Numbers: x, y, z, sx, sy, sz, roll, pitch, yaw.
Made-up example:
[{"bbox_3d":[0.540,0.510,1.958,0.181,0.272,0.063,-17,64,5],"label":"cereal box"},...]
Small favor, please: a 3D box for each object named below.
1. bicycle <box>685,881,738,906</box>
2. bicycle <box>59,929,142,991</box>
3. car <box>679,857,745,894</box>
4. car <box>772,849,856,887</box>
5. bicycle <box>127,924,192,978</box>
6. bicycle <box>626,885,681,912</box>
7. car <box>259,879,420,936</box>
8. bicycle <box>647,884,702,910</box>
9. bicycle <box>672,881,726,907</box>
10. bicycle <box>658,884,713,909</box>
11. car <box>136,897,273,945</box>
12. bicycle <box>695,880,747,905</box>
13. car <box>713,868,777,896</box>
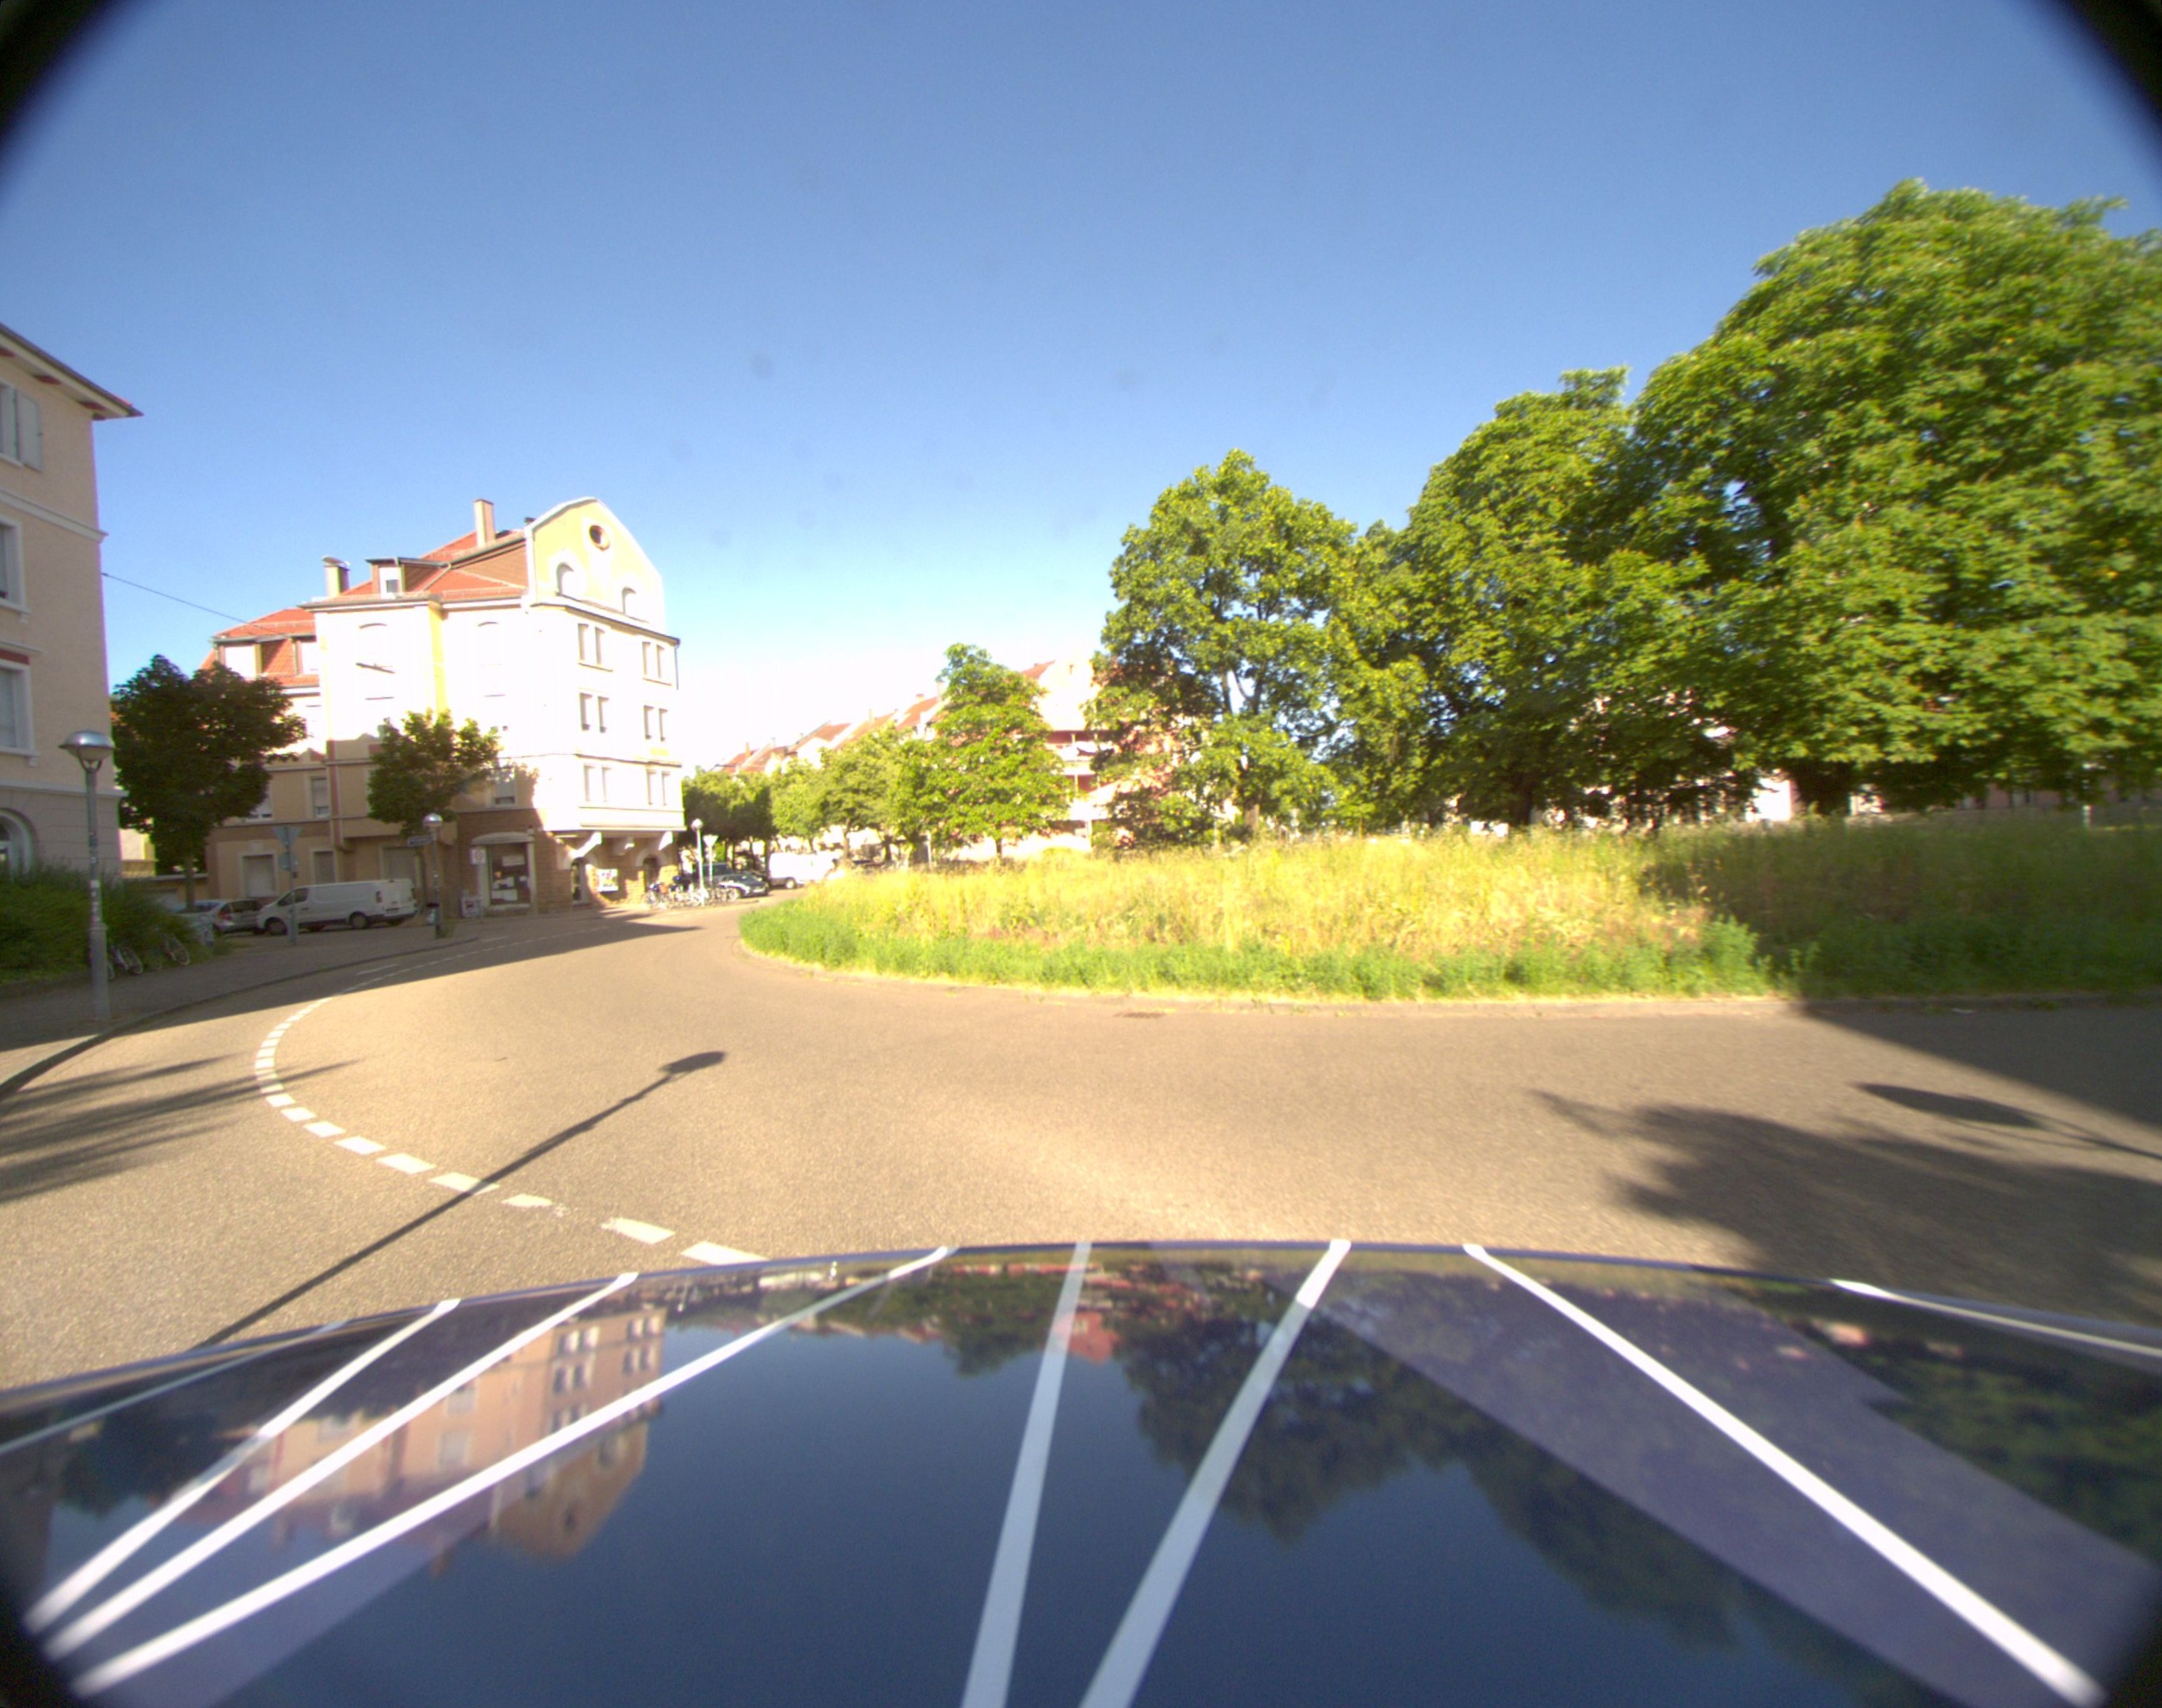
[{"bbox_3d":[-17.295,1.836,35.572,2.362,1.046,0.655,-3,1,18],"label":"bicycle"},{"bbox_3d":[-18.648,1.989,14.487,0.378,0.989,1.388,-4,1,-28],"label":"bicycle"},{"bbox_3d":[-23.018,1.365,47.305,2.258,2.107,4.788,-4,1,-44],"label":"car"},{"bbox_3d":[-19.008,0.974,54.280,5.190,2.348,2.037,-3,1,-3],"label":"car"},{"bbox_3d":[-19.639,2.050,16.222,0.378,0.989,1.388,-4,1,-30],"label":"bicycle"},{"bbox_3d":[-18.394,1.904,32.687,2.362,1.046,0.655,-3,-2,18],"label":"bicycle"},{"bbox_3d":[-30.302,2.138,31.159,4.447,1.930,1.897,-3,1,-3],"label":"car"},{"bbox_3d":[-17.939,1.901,33.515,2.362,1.046,0.655,-3,1,18],"label":"bicycle"},{"bbox_3d":[-17.550,1.849,34.914,2.362,1.046,0.655,-3,1,18],"label":"bicycle"},{"bbox_3d":[-17.817,1.928,34.227,2.362,1.009,0.655,-3,0,18],"label":"bicycle"},{"bbox_3d":[-35.551,2.702,30.892,3.541,1.567,1.688,-3,1,1],"label":"car"},{"bbox_3d":[-17.205,1.841,36.322,2.362,1.046,0.655,-3,1,18],"label":"bicycle"},{"bbox_3d":[-19.300,1.609,43.594,2.004,1.434,3.989,-4,1,-45],"label":"car"}]
